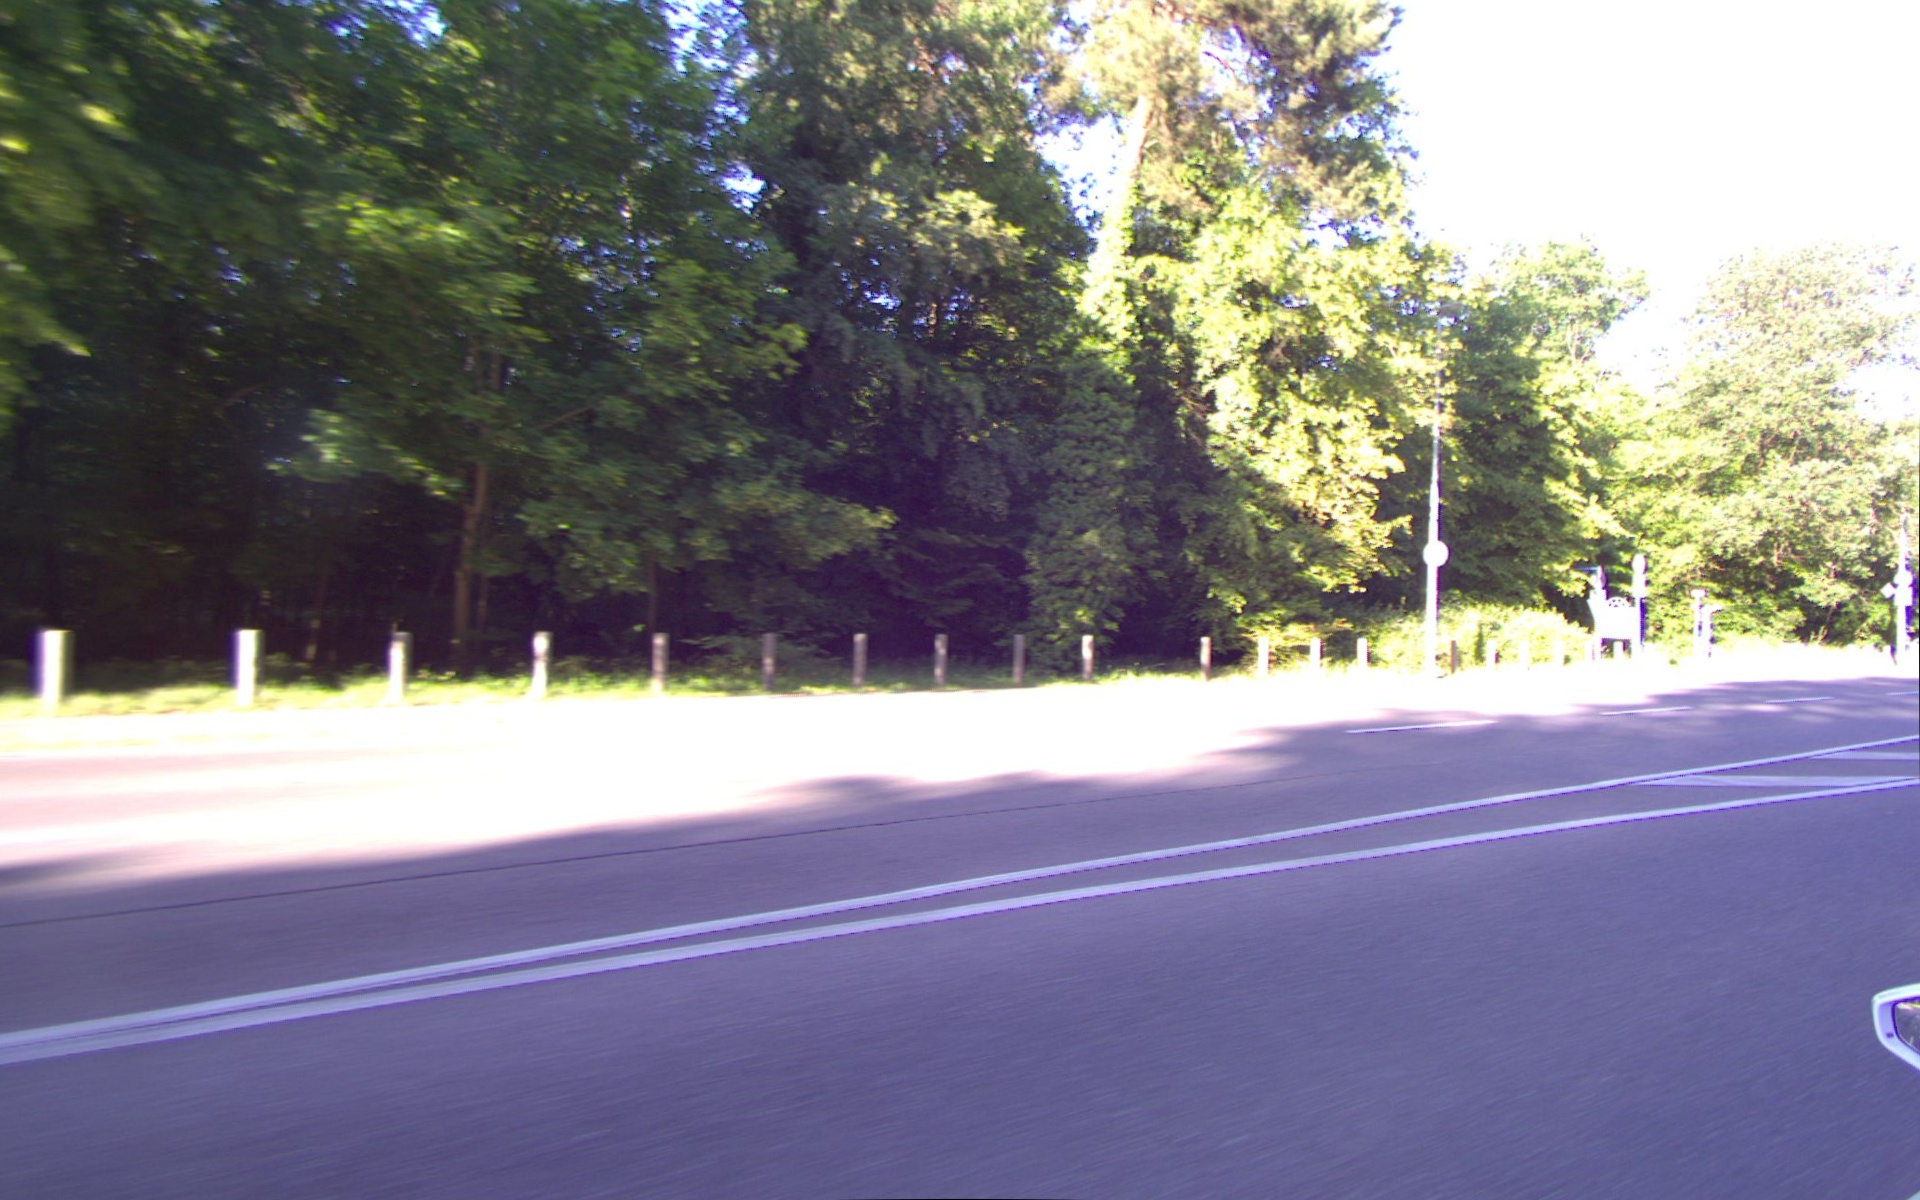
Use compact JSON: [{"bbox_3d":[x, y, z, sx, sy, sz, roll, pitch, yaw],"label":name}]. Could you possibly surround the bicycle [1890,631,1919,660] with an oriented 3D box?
[{"bbox_3d":[39.184,1.894,41.324,2.186,1.147,0.400,2,2,-21],"label":"bicycle"}]
